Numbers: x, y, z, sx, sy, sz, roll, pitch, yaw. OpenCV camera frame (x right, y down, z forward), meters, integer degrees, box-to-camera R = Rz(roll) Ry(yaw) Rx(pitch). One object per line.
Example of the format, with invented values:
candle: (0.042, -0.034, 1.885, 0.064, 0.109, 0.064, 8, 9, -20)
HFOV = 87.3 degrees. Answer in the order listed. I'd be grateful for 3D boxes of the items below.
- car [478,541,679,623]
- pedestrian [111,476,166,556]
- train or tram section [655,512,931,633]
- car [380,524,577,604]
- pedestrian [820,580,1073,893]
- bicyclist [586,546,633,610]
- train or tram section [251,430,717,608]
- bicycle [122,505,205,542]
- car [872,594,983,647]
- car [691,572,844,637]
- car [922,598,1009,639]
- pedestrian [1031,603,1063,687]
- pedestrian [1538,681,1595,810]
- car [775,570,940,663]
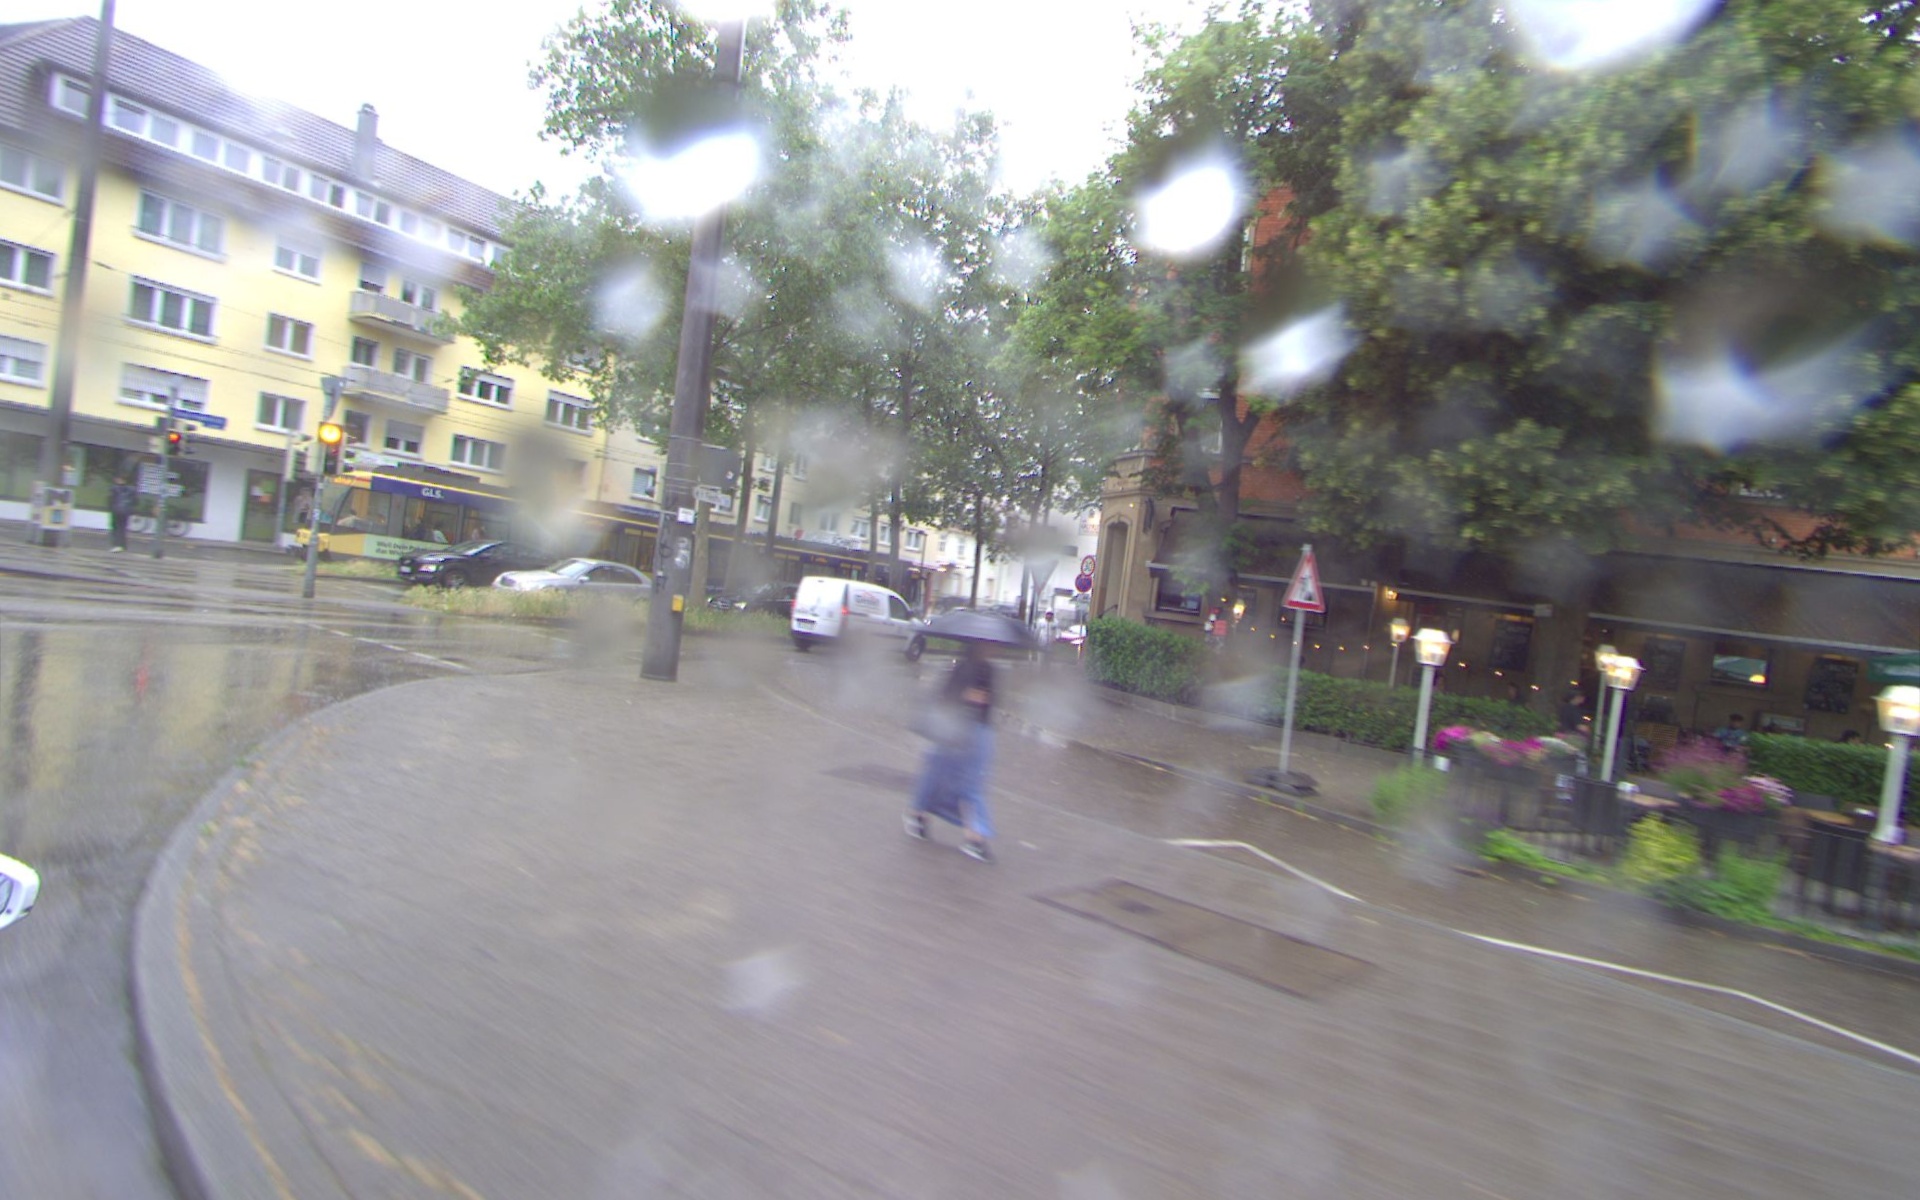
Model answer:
car: (-9.596, -0.396, 25.633, 1.713, 1.507, 4.487, 9, 1, 35)
pedestrian: (-18.900, -1.929, 23.145, 0.809, 1.698, 1.005, 7, 1, -42)
train or tram section: (-6.999, -0.962, 46.497, 3.066, 3.600, 14.643, 8, -1, 34)
car: (-12.571, -0.898, 26.557, 1.848, 1.520, 4.275, 8, 1, 31)
pedestrian: (-0.119, 0.802, 6.218, 1.091, 1.687, 0.993, 8, 0, -20)
bicyclist: (-10.457, -0.648, 30.057, 0.702, 1.736, 0.888, 8, 0, 32)
train or tram section: (-15.199, -2.327, 34.551, 3.067, 3.600, 14.539, 8, -1, 36)
bicycle: (-26.572, -2.552, 33.596, 0.604, 0.908, 2.040, 8, 0, 36)
car: (-1.153, 0.801, 37.817, 1.719, 1.498, 4.418, 9, 1, 36)
car: (-5.977, 0.175, 31.750, 1.833, 1.504, 4.625, 9, 1, 35)
car: (0.281, 0.867, 45.296, 1.719, 1.415, 4.117, 9, 1, 36)
pedestrian: (1.984, 0.999, 22.792, 0.555, 1.798, 1.204, 5, 3, 7)
pedestrian: (8.326, 1.980, 13.823, 0.382, 1.667, 0.550, 8, 3, 23)
car: (-2.452, 0.474, 25.144, 1.877, 1.818, 4.109, 8, -1, 29)
